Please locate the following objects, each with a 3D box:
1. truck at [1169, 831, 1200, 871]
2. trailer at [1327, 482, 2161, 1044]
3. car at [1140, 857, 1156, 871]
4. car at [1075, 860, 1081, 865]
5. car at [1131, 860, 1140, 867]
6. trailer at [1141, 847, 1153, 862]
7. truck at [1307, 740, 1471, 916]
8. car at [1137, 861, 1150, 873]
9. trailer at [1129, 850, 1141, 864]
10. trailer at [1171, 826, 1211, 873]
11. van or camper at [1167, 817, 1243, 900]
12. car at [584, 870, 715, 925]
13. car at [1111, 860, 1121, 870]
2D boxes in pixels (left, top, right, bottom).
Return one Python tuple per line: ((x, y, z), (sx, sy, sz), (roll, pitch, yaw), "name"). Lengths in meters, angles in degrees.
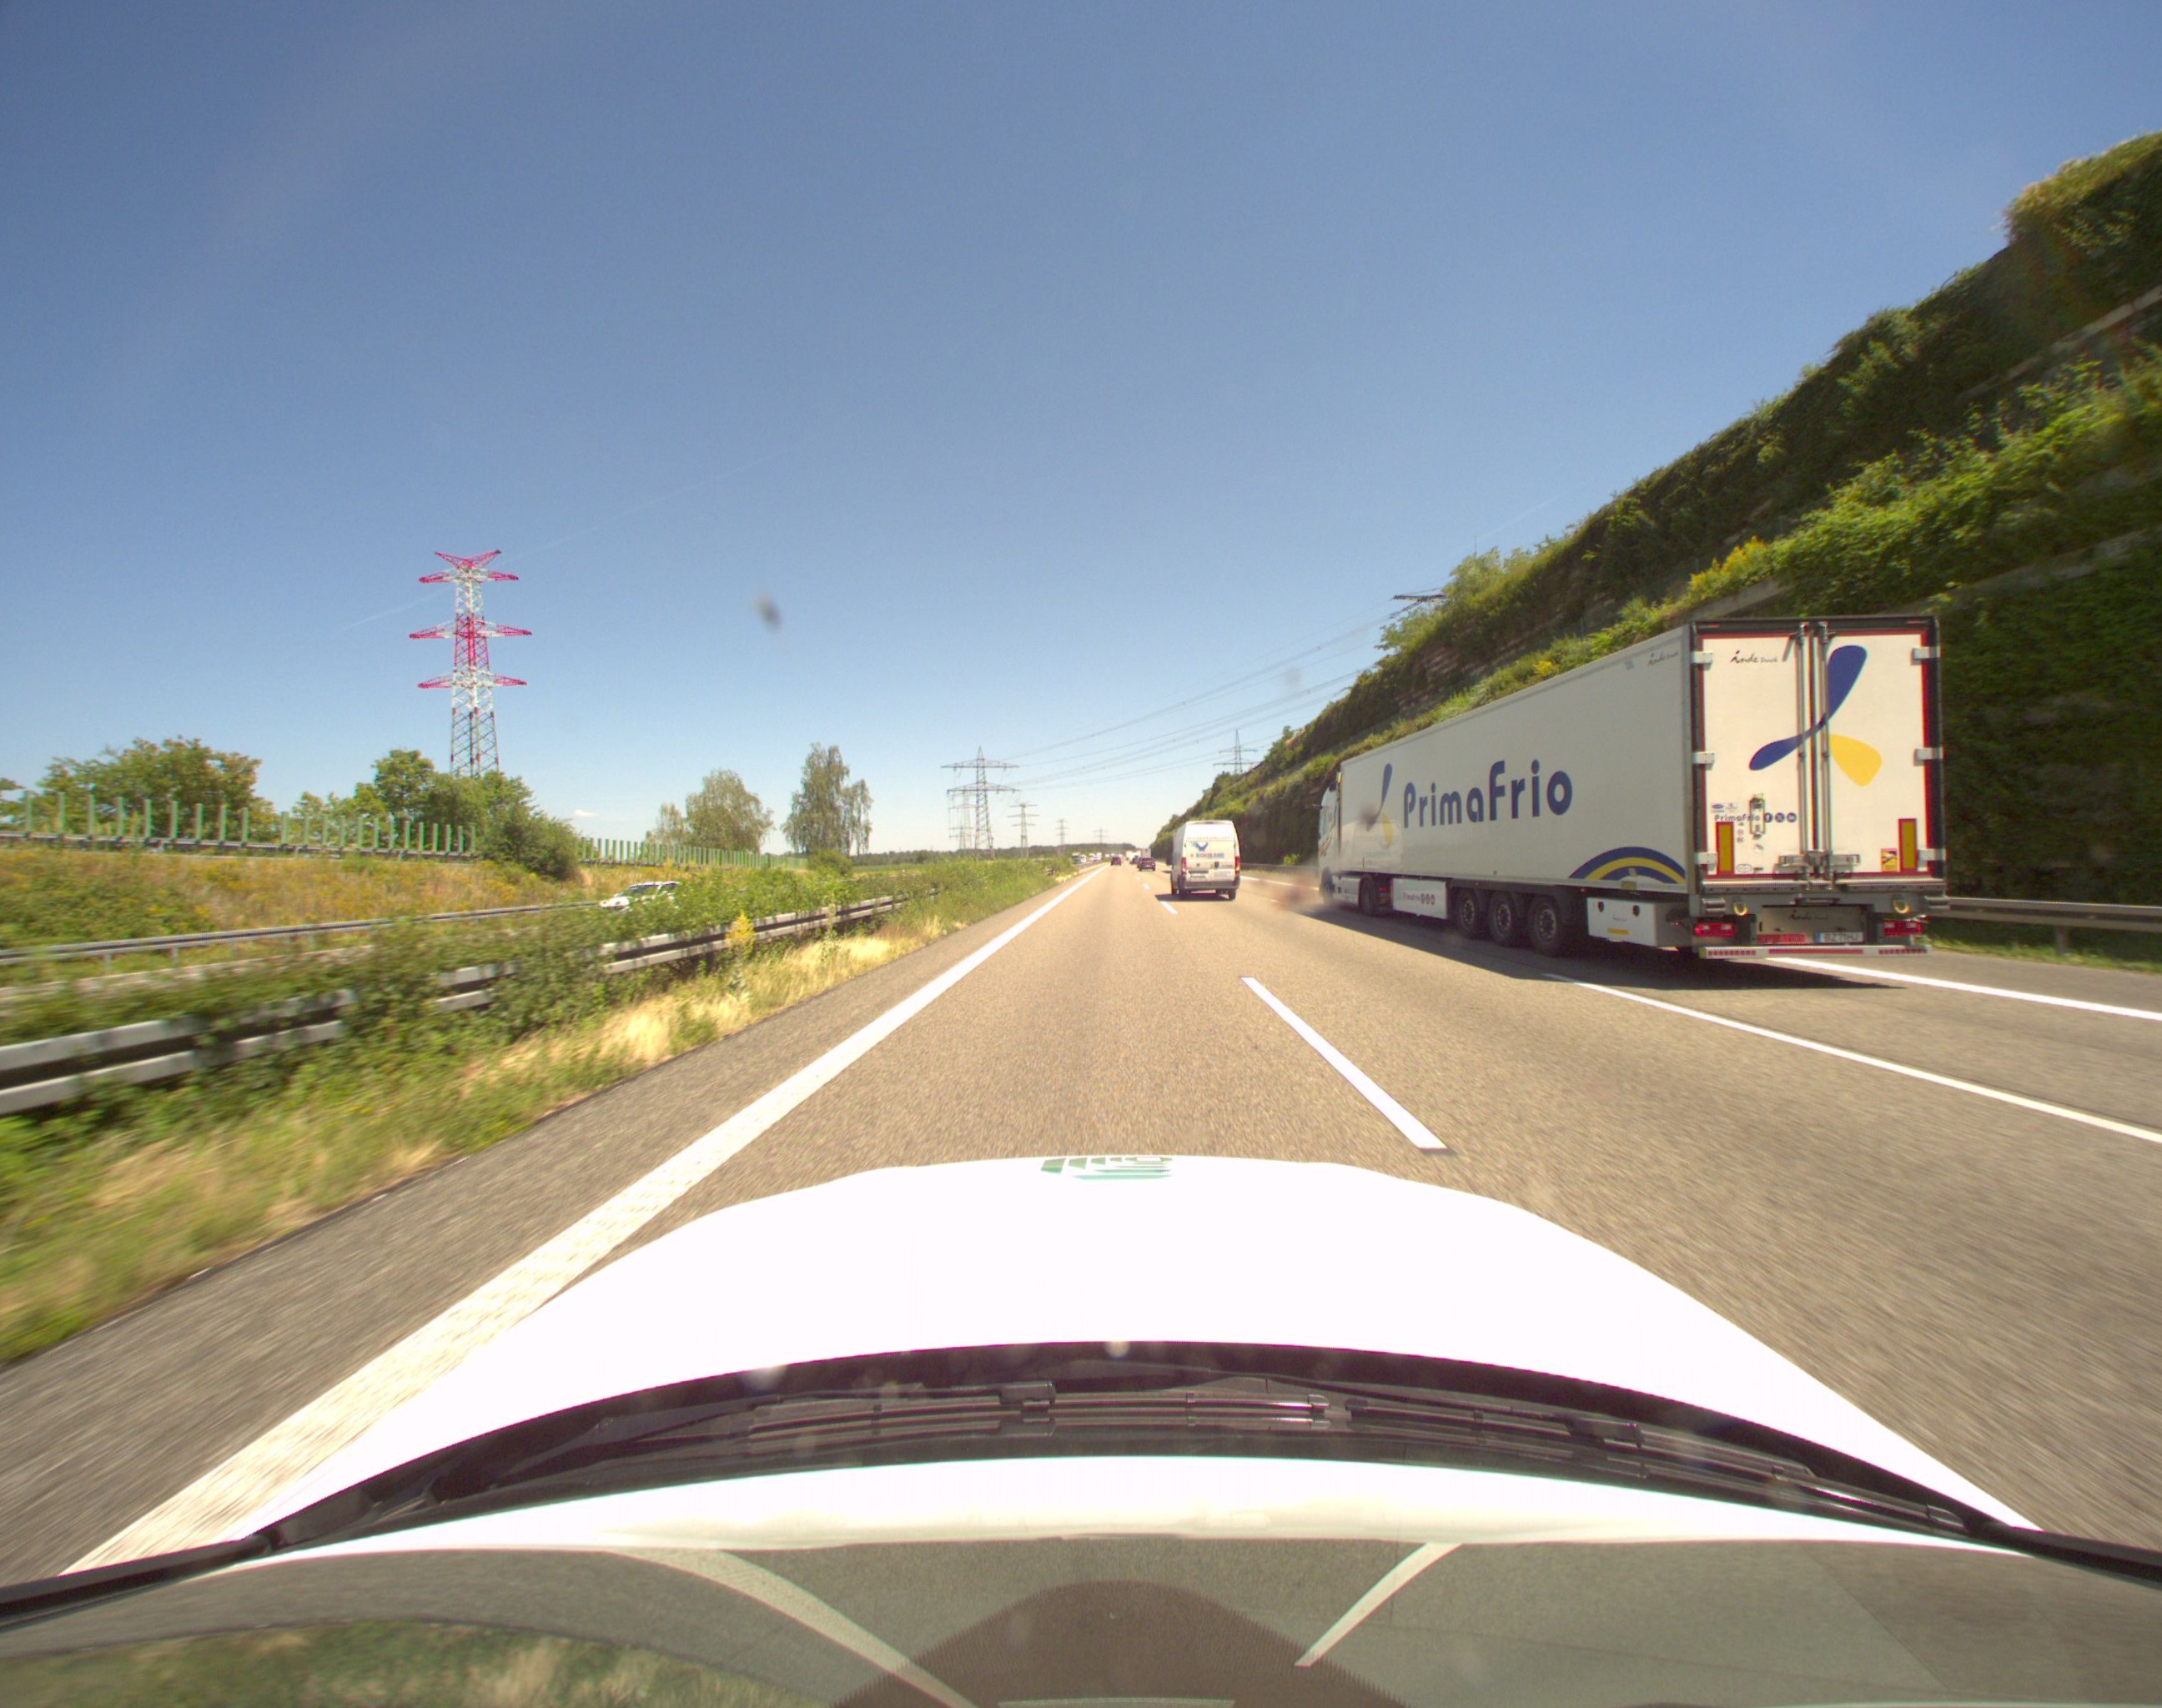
((10.764, -0.270, 85.145), (2.607, 3.992, 6.531), (-1, 0, 3), "truck")
((7.941, -0.665, 14.641), (2.504, 4.212, 17.037), (-1, 0, 2), "trailer")
((7.595, 1.124, 92.558), (1.742, 1.525, 3.998), (-1, -1, 3), "car")
((-0.865, 2.387, 231.477), (1.612, 1.460, 4.285), (-5, 0, 1), "car")
((11.332, 1.969, 169.023), (1.822, 1.525, 4.004), (-2, -1, 4), "car")
((19.246, 0.238, 238.470), (3.169, 4.121, 13.443), (-2, -1, 3), "trailer")
((8.288, -0.605, 22.775), (2.497, 4.220, 6.260), (0, -1, 3), "truck")
((9.025, 1.932, 118.359), (1.786, 1.653, 4.141), (-1, 0, 3), "car")
((12.717, 0.715, 192.905), (2.600, 3.213, 9.959), (-2, -1, 3), "trailer")
((10.348, -0.349, 77.745), (2.634, 4.005, 13.616), (-1, 0, 3), "trailer")
((4.551, 0.182, 30.857), (2.088, 2.769, 6.760), (-1, 0, 2), "van or camper")
((-15.760, 1.518, 30.159), (1.825, 1.682, 5.498), (-2, 0, 1), "car")
((6.698, 2.063, 154.382), (1.822, 1.670, 4.003), (-2, -1, 3), "car")
